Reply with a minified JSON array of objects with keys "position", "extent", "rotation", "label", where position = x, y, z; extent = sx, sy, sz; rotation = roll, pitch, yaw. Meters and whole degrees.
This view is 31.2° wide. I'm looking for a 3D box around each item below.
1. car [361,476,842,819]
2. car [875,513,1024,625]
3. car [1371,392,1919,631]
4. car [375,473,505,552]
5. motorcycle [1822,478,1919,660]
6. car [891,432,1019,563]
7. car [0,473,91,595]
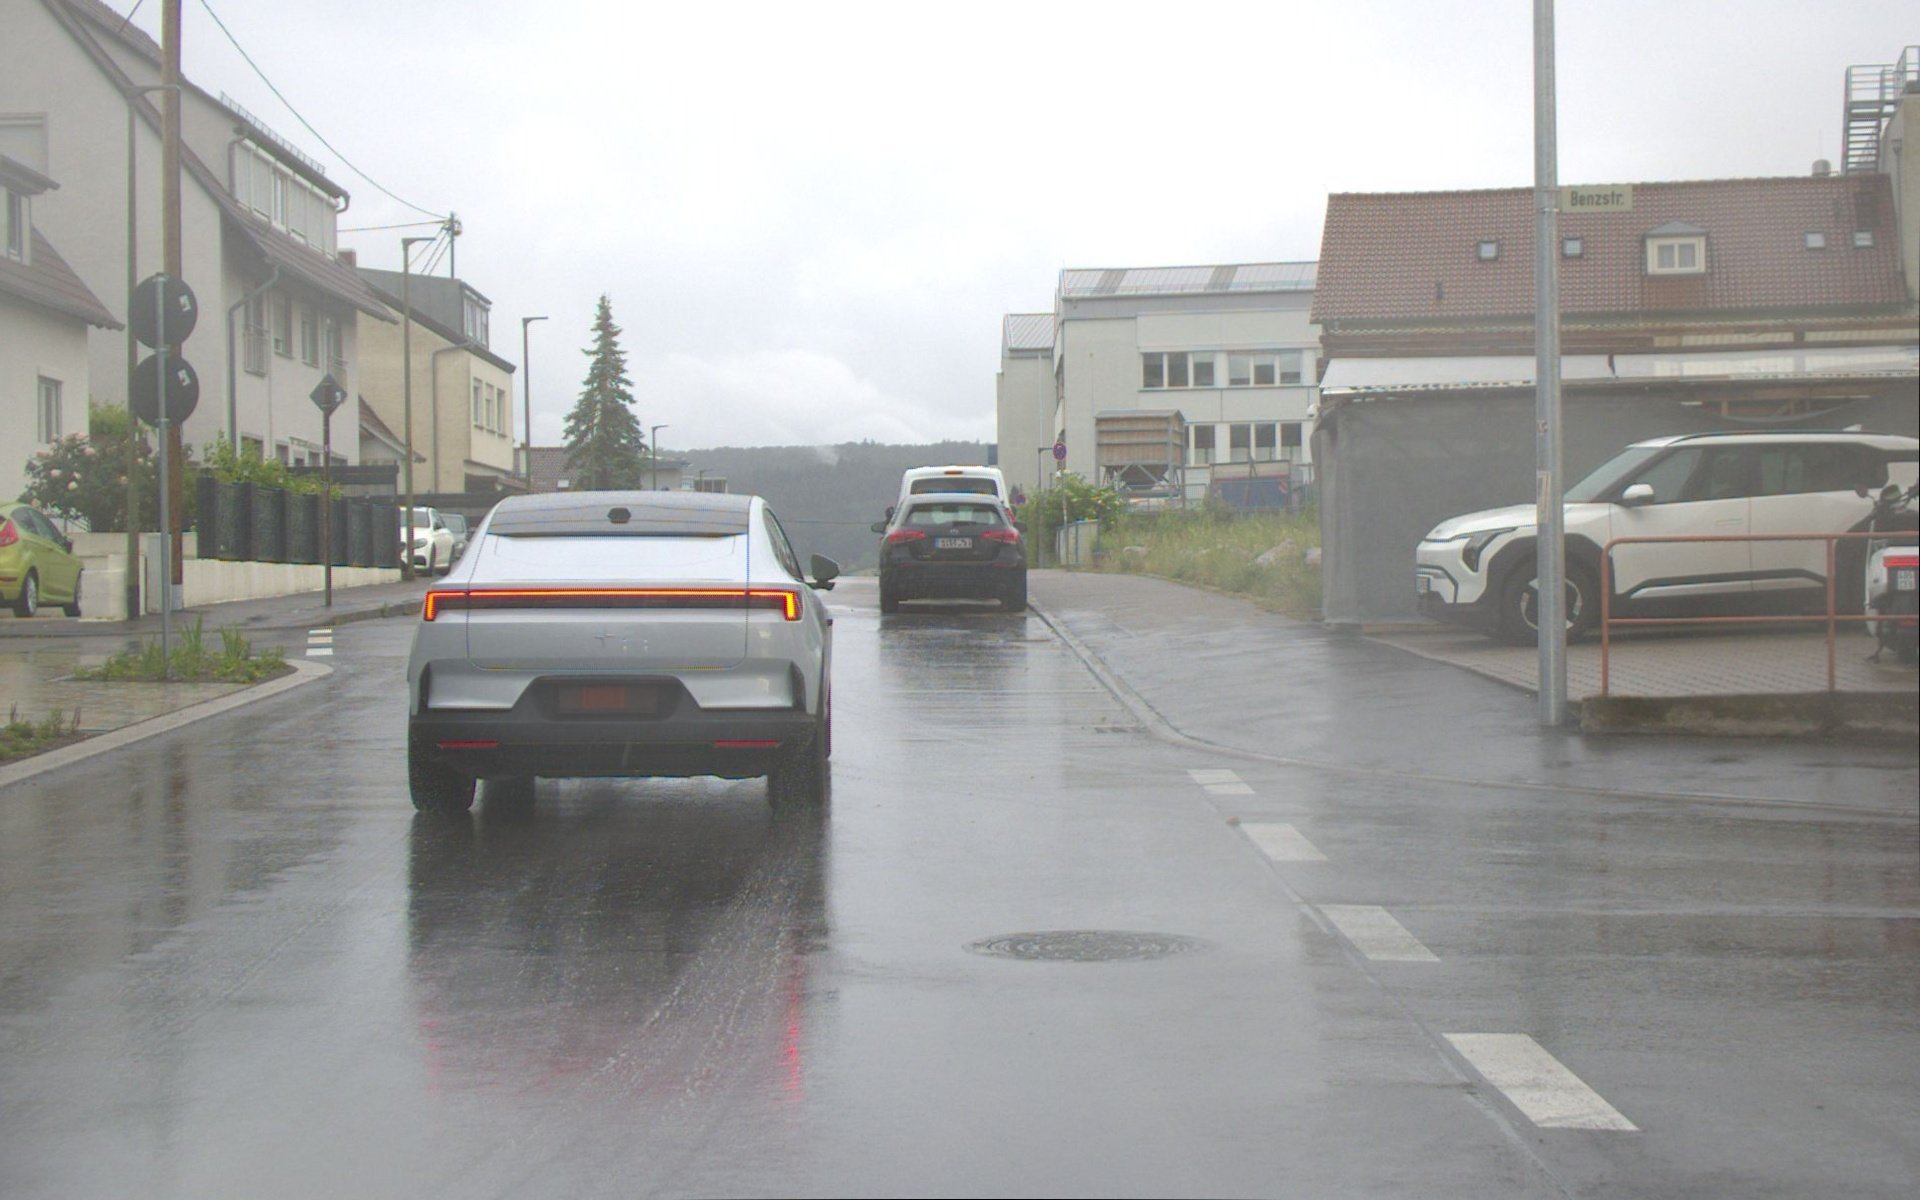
[{"position":[-1.669,0.153,17.580],"extent":[1.993,1.497,4.670],"rotation":[-1,1,0],"label":"car"},{"position":[-0.163,-0.417,42.933],"extent":[1.768,1.331,4.321],"rotation":[0,1,-1],"label":"car"},{"position":[5.486,-0.691,26.799],"extent":[4.216,1.604,1.861],"rotation":[-3,1,-2],"label":"car"},{"position":[-10.789,-1.811,71.632],"extent":[1.993,1.505,4.896],"rotation":[2,1,-1],"label":"car"},{"position":[5.951,-0.223,21.963],"extent":[0.488,1.092,2.000],"rotation":[0,2,3],"label":"motorcycle"},{"position":[-0.112,-1.471,49.775],"extent":[1.768,1.819,4.575],"rotation":[0,1,-1],"label":"car"},{"position":[-12.212,-0.796,43.031],"extent":[1.778,1.462,3.457],"rotation":[-1,0,0],"label":"car"}]
